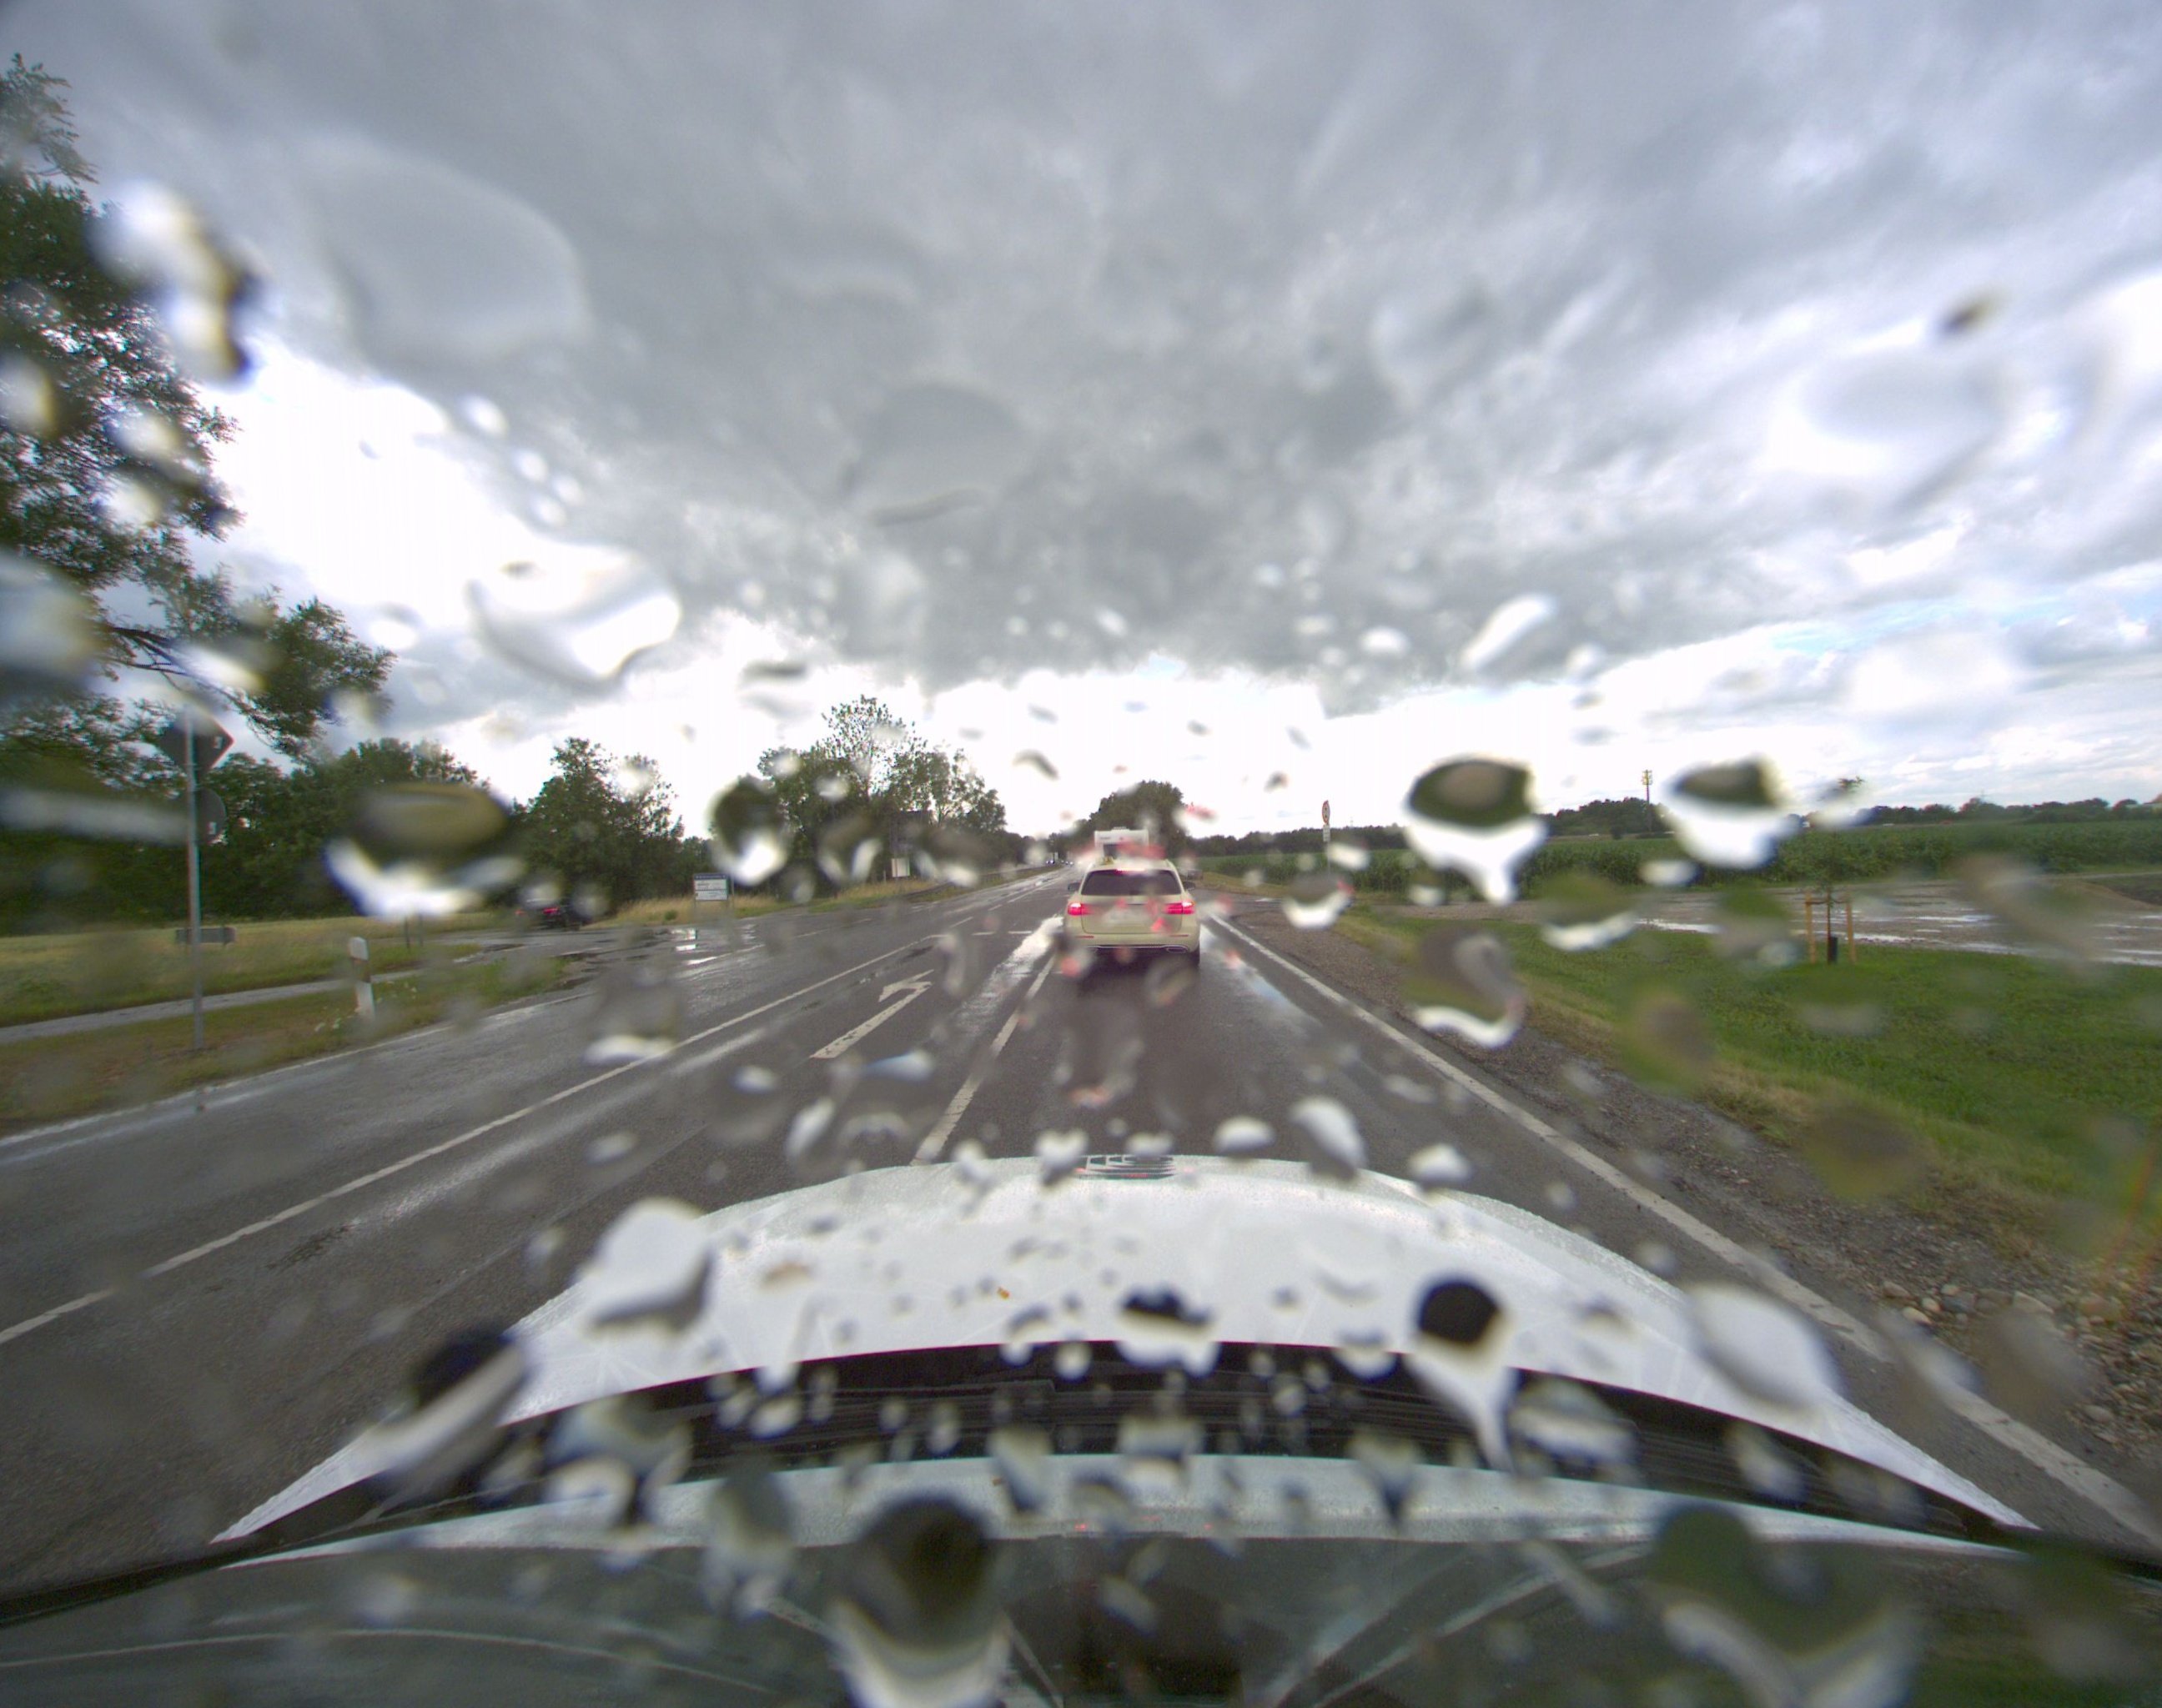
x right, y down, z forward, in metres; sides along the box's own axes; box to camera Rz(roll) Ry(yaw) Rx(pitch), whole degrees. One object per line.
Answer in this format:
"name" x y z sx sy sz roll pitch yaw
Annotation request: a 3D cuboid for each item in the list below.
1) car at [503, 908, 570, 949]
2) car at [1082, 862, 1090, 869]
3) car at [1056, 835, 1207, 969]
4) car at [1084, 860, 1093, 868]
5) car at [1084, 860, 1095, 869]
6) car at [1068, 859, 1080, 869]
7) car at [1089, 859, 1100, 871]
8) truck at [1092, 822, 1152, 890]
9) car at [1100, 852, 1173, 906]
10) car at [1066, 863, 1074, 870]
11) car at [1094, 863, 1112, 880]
"car" -25.574 3.434 38.398 2.316 1.547 4.587 0 -1 -30
"car" 1.324 2.888 203.516 1.745 1.662 3.668 -2 -1 -3
"car" 0.691 0.625 12.050 1.836 1.618 4.001 -1 -1 2
"car" 1.767 2.398 191.122 1.733 1.860 3.786 -2 -1 2
"car" 1.584 1.973 155.150 1.872 1.761 3.835 -2 -1 2
"car" -1.186 1.719 139.901 1.821 1.574 4.002 0 -1 2
"car" 2.270 1.848 136.608 1.784 1.777 3.722 -2 -1 2
"truck" 1.826 0.123 37.297 2.354 2.729 7.317 -2 -1 2
"car" 1.581 0.706 24.129 1.986 1.462 4.001 0 -1 2
"car" -2.627 3.003 195.788 1.574 1.640 3.442 -2 -1 1
"car" 2.513 1.942 92.220 1.908 1.841 3.797 -2 -1 2
